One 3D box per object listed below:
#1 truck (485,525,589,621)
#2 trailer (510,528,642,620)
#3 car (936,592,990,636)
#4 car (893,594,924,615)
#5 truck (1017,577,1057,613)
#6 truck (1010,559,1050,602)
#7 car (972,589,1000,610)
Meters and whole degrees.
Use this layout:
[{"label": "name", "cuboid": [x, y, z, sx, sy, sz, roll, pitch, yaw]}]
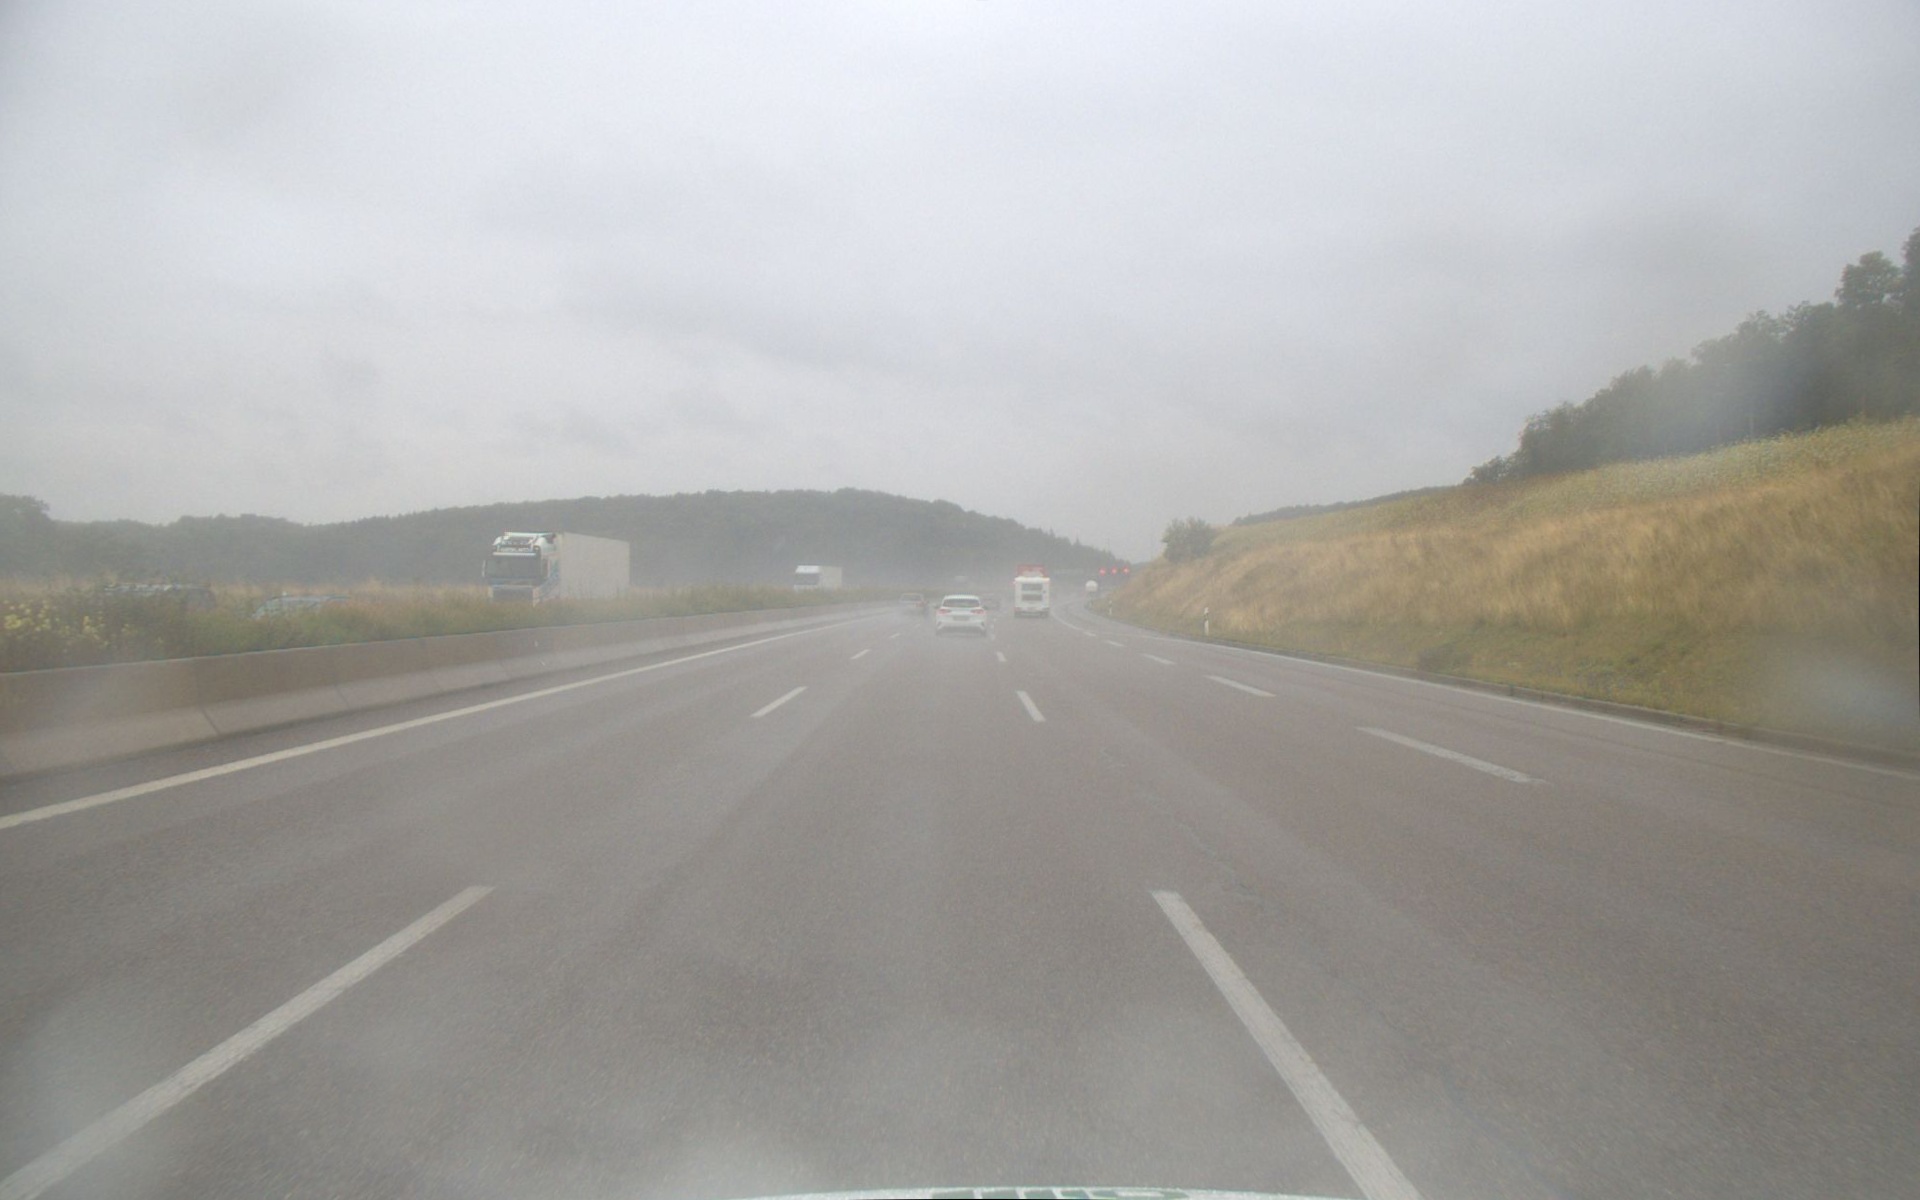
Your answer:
[{"label": "truck", "cuboid": [-18.540, -1.159, 72.903, 2.892, 4.063, 6.217, 0, 0, 1]}, {"label": "trailer", "cuboid": [-18.428, -1.183, 80.509, 2.883, 4.052, 14.307, 0, 0, 1]}, {"label": "car", "cuboid": [0.094, 0.474, 58.146, 1.829, 1.488, 4.000, 0, 0, 0]}, {"label": "car", "cuboid": [-3.033, 0.278, 96.923, 1.787, 1.177, 4.211, 1, -1, -2]}, {"label": "truck", "cuboid": [4.884, -0.328, 105.725, 2.358, 2.291, 4.692, 0, 0, 0]}, {"label": "truck", "cuboid": [6.410, -1.878, 153.967, 3.454, 3.808, 11.428, 1, 1, 1]}, {"label": "car", "cuboid": [1.981, -0.046, 127.954, 1.953, 1.646, 3.998, 0, 0, -2]}]
